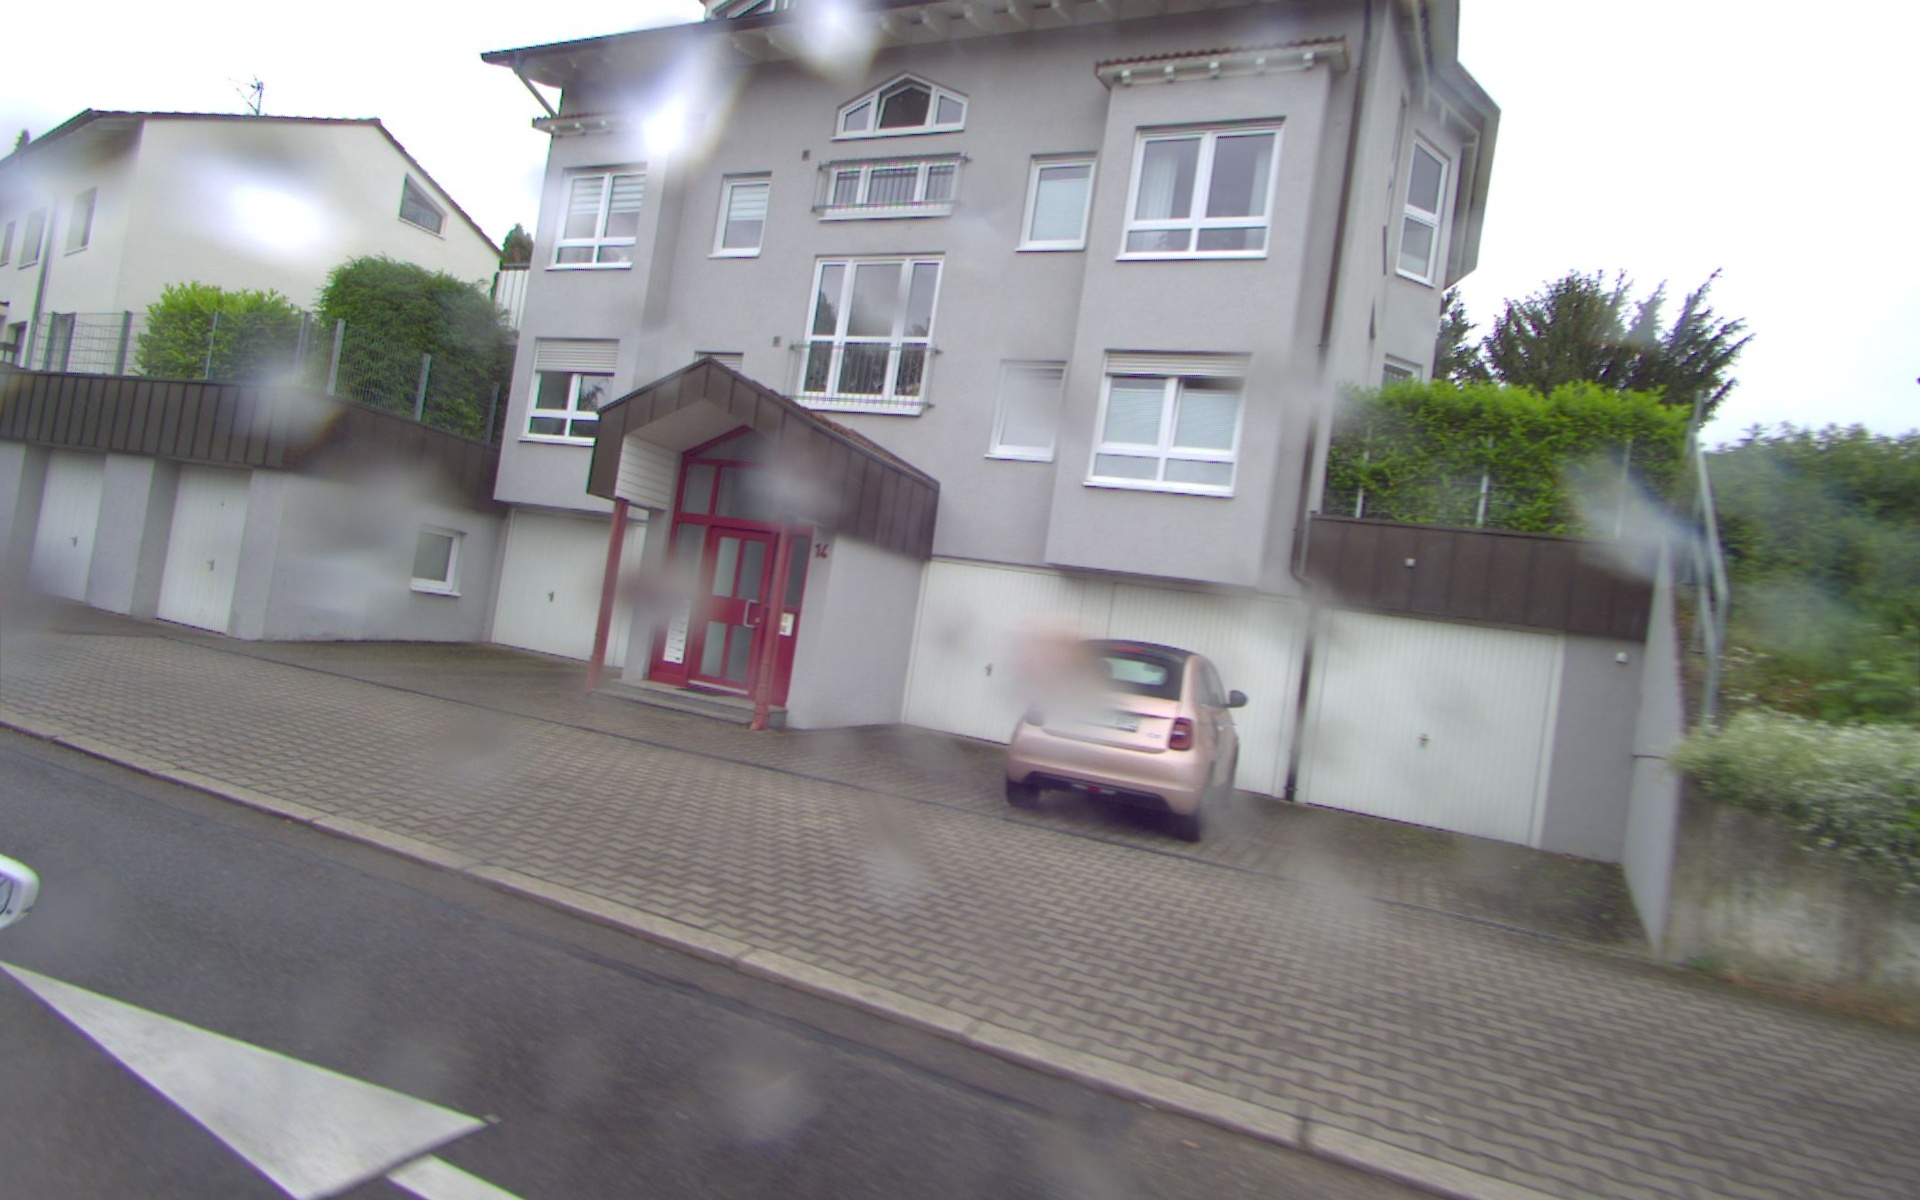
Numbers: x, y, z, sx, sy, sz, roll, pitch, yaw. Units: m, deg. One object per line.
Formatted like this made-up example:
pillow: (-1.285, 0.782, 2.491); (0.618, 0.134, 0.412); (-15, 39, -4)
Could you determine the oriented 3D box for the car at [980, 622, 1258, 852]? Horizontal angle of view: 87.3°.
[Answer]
car: (1.703, 1.189, 9.519); (1.779, 1.502, 3.647); (7, -2, 20)
